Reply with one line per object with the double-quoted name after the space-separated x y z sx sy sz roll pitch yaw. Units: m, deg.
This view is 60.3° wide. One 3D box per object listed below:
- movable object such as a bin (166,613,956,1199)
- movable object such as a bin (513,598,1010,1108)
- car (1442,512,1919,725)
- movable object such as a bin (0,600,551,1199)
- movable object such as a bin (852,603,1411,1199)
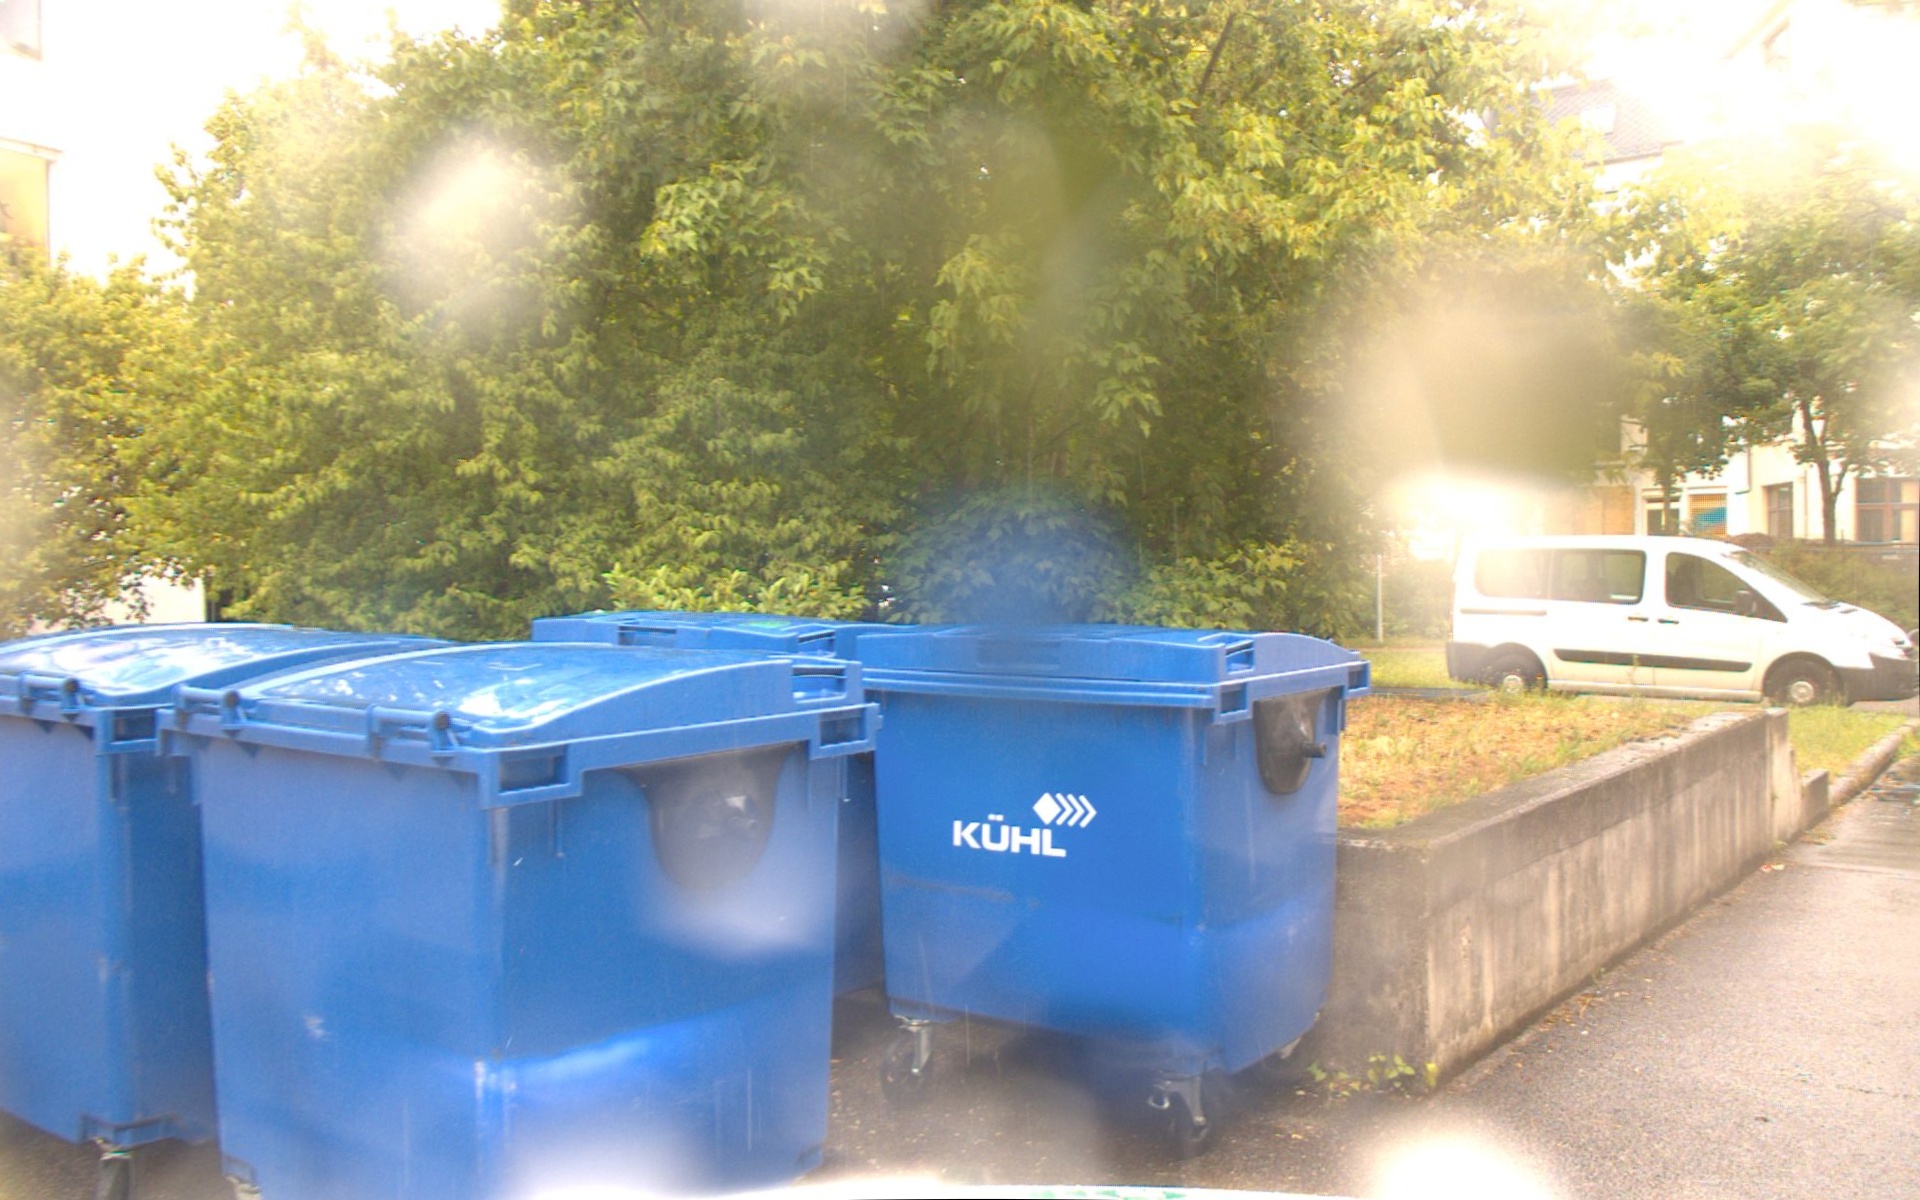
-0.814 0.724 3.410 1.184 1.360 1.111 0 1 41 "movable object such as a bin"
-0.626 0.693 5.288 1.201 1.360 1.002 0 2 37 "movable object such as a bin"
7.954 0.178 18.147 4.702 2.049 1.992 -1 1 38 "car"
-1.866 0.726 4.176 1.183 1.360 1.112 2 4 37 "movable object such as a bin"
0.485 0.704 4.598 1.201 1.360 1.002 0 1 37 "movable object such as a bin"
